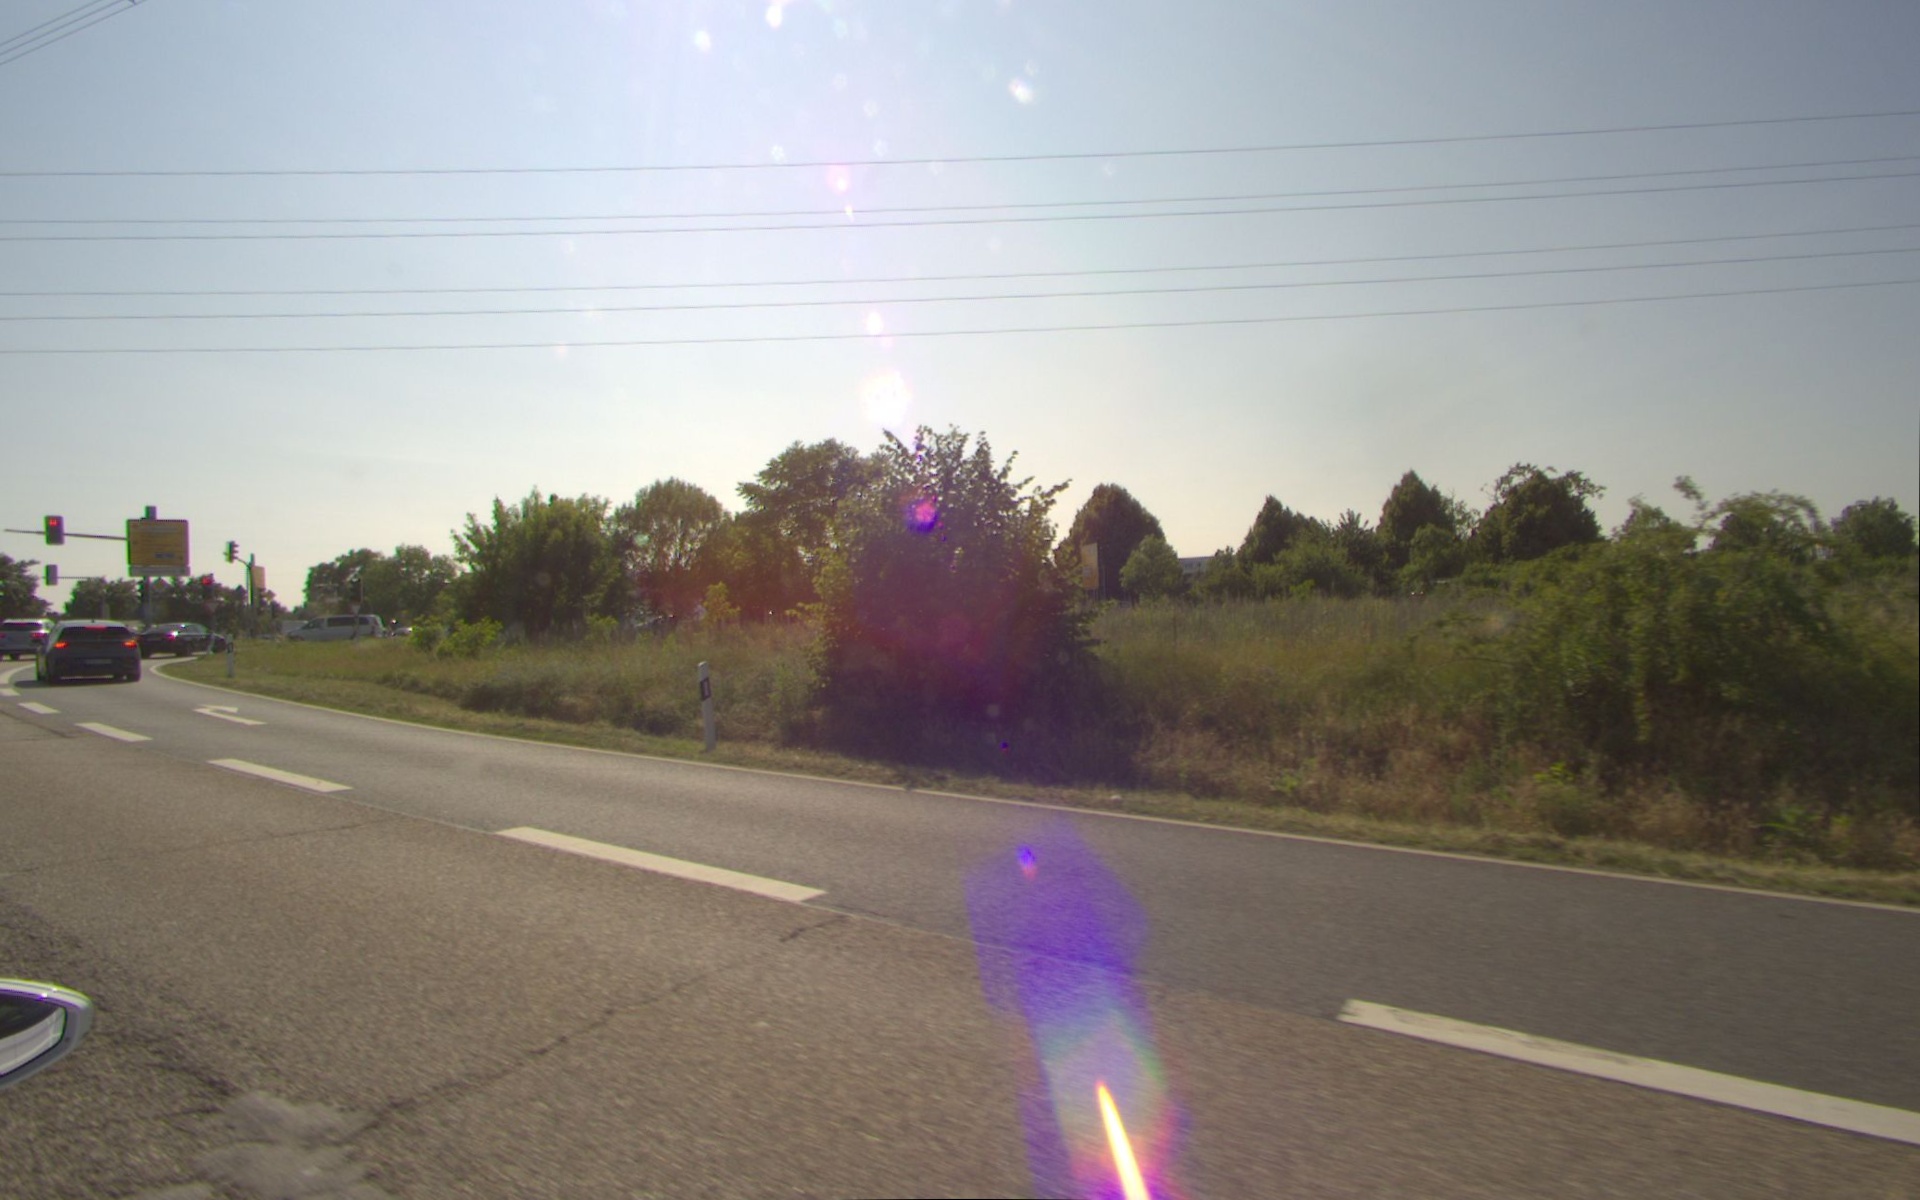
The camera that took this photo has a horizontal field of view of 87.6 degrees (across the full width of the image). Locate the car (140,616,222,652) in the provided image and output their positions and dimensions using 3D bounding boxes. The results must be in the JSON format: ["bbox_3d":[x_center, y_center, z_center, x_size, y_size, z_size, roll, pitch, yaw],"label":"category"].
[{"bbox_3d":[-33.345,1.436,42.965,1.619,1.404,3.989,-1,0,-21],"label":"car"}]

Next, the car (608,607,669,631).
[{"bbox_3d":[-21.911,1.276,68.440,3.810,1.539,1.805,-1,0,-14],"label":"car"}]

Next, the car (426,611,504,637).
[{"bbox_3d":[-32.414,1.563,65.686,4.257,1.539,1.805,-1,0,-15],"label":"car"}]

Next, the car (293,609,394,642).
[{"bbox_3d":[-37.561,1.551,61.163,4.859,1.943,1.997,0,-1,-15],"label":"car"}]

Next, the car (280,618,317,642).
[{"bbox_3d":[-61.808,2.823,93.660,1.904,2.164,4.629,1,-2,-21],"label":"car"}]

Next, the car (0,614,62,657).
[{"bbox_3d":[-38.549,1.461,41.468,1.618,1.698,3.723,1,-2,-36],"label":"car"}]

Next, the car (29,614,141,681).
[{"bbox_3d":[-22.360,1.141,25.547,4.055,1.537,1.762,-1,0,43],"label":"car"}]
